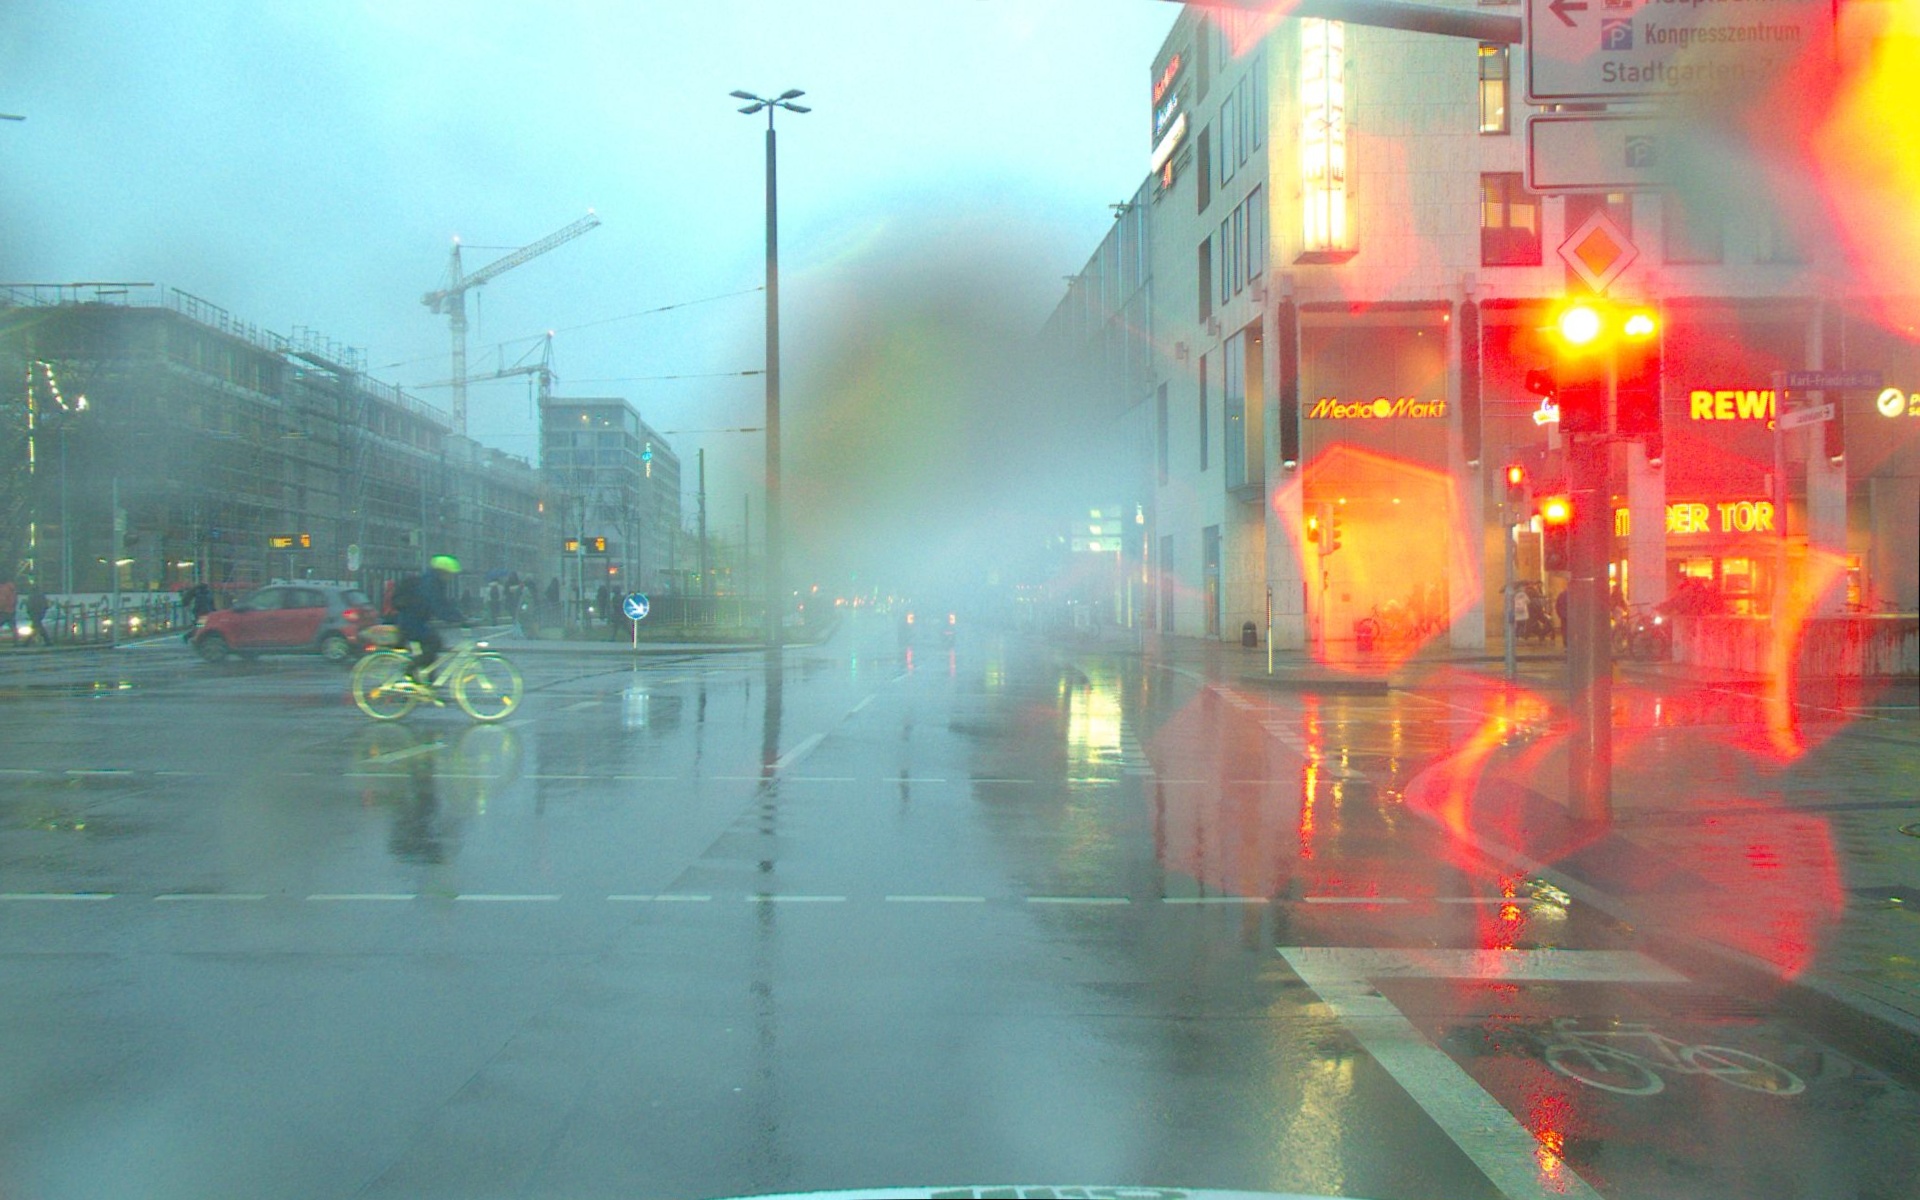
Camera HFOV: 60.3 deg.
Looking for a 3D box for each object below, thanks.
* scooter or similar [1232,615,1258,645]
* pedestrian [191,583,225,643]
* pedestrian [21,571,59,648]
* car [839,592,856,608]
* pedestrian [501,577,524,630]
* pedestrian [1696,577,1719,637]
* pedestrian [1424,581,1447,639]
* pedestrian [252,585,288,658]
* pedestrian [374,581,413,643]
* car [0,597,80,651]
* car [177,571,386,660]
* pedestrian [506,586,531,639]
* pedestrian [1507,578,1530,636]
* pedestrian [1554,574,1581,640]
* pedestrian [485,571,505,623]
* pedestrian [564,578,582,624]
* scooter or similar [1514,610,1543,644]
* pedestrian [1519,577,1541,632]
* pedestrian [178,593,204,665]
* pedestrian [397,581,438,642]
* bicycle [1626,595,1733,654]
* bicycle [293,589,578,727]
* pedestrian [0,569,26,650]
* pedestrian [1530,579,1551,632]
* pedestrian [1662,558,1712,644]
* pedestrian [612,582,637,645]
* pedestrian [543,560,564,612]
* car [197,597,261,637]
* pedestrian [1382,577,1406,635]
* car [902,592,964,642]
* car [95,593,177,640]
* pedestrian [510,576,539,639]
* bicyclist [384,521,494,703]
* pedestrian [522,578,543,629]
[{"bbox_3d":[8.865,0.934,51.396,0.726,0.932,0.400,-1,0,0],"label":"scooter or similar"},{"bbox_3d":[-20.919,0.369,46.032,0.694,1.647,0.679,-1,0,-10],"label":"pedestrian"},{"bbox_3d":[-24.541,0.251,44.120,0.770,2.049,0.604,-1,0,-39],"label":"pedestrian"},{"bbox_3d":[-14.835,-0.016,217.604,1.953,2.049,3.999,1,-1,-1],"label":"car"},{"bbox_3d":[-15.006,0.110,55.487,0.648,1.776,0.734,-1,0,-11],"label":"pedestrian"},{"bbox_3d":[22.398,0.199,49.559,0.501,1.791,0.374,-1,0,7],"label":"pedestrian"},{"bbox_3d":[14.348,0.305,49.919,0.526,1.748,0.500,-1,0,37],"label":"pedestrian"},{"bbox_3d":[-19.633,0.618,47.087,0.778,2.049,0.745,-1,0,-11],"label":"pedestrian"},{"bbox_3d":[-15.725,0.322,45.911,0.814,1.709,0.619,-1,0,24],"label":"pedestrian"},{"bbox_3d":[-36.809,0.927,65.532,1.954,2.049,3.996,-1,0,-4],"label":"car"},{"bbox_3d":[-13.822,0.311,33.829,3.496,1.610,1.676,3,-1,0],"label":"car"},{"bbox_3d":[-14.076,0.392,52.753,0.598,1.647,0.709,-1,0,-1],"label":"pedestrian"},{"bbox_3d":[16.785,0.211,49.711,0.526,1.748,0.500,-1,0,37],"label":"pedestrian"},{"bbox_3d":[15.865,0.186,43.192,0.526,1.715,0.547,-1,0,37],"label":"pedestrian"},{"bbox_3d":[-16.003,-0.088,56.953,0.600,1.776,0.619,-1,0,-11],"label":"pedestrian"},{"bbox_3d":[-14.921,0.044,63.824,0.648,1.776,0.619,-1,0,-11],"label":"pedestrian"},{"bbox_3d":[17.140,0.819,49.850,0.726,1.011,0.400,-1,0,0],"label":"scooter or similar"},{"bbox_3d":[18.308,0.141,53.157,0.526,1.748,0.500,-1,0,37],"label":"pedestrian"},{"bbox_3d":[-21.920,0.818,47.141,0.498,2.049,0.638,0,1,-11],"label":"pedestrian"},{"bbox_3d":[-15.242,0.322,46.468,0.826,1.718,0.677,-1,0,23],"label":"pedestrian"},{"bbox_3d":[13.840,0.466,31.858,1.806,1.112,0.618,-1,0,14],"label":"bicycle"},{"bbox_3d":[-5.528,0.613,17.589,2.779,1.386,0.719,1,-1,-10],"label":"bicycle"},{"bbox_3d":[-24.976,0.248,43.422,0.682,2.124,0.604,0,0,-41],"label":"pedestrian"},{"bbox_3d":[19.207,0.178,54.737,0.526,1.748,0.500,-1,0,37],"label":"pedestrian"},{"bbox_3d":[13.991,0.016,31.834,0.764,1.623,0.613,-1,0,14],"label":"pedestrian"},{"bbox_3d":[-9.614,0.383,47.386,0.620,1.803,0.483,-1,0,-2],"label":"pedestrian"},{"bbox_3d":[-14.090,-0.492,57.337,0.607,1.776,0.612,-1,0,-6],"label":"pedestrian"},{"bbox_3d":[-38.836,0.868,87.965,1.955,2.049,3.995,-1,0,-6],"label":"car"},{"bbox_3d":[13.117,0.190,49.966,0.526,1.748,0.500,-1,0,37],"label":"pedestrian"},{"bbox_3d":[-0.915,0.532,54.482,1.934,1.557,3.998,-1,0,-2],"label":"car"},{"bbox_3d":[-37.392,0.736,75.178,1.954,2.049,3.996,-1,0,-5],"label":"car"},{"bbox_3d":[-12.562,0.214,47.714,0.689,1.791,0.652,-1,0,-2],"label":"pedestrian"},{"bbox_3d":[-5.517,0.133,17.569,0.975,1.871,0.719,1,-1,-10],"label":"bicyclist"},{"bbox_3d":[-15.044,0.124,58.247,0.599,1.776,0.620,-1,0,-6],"label":"pedestrian"}]
